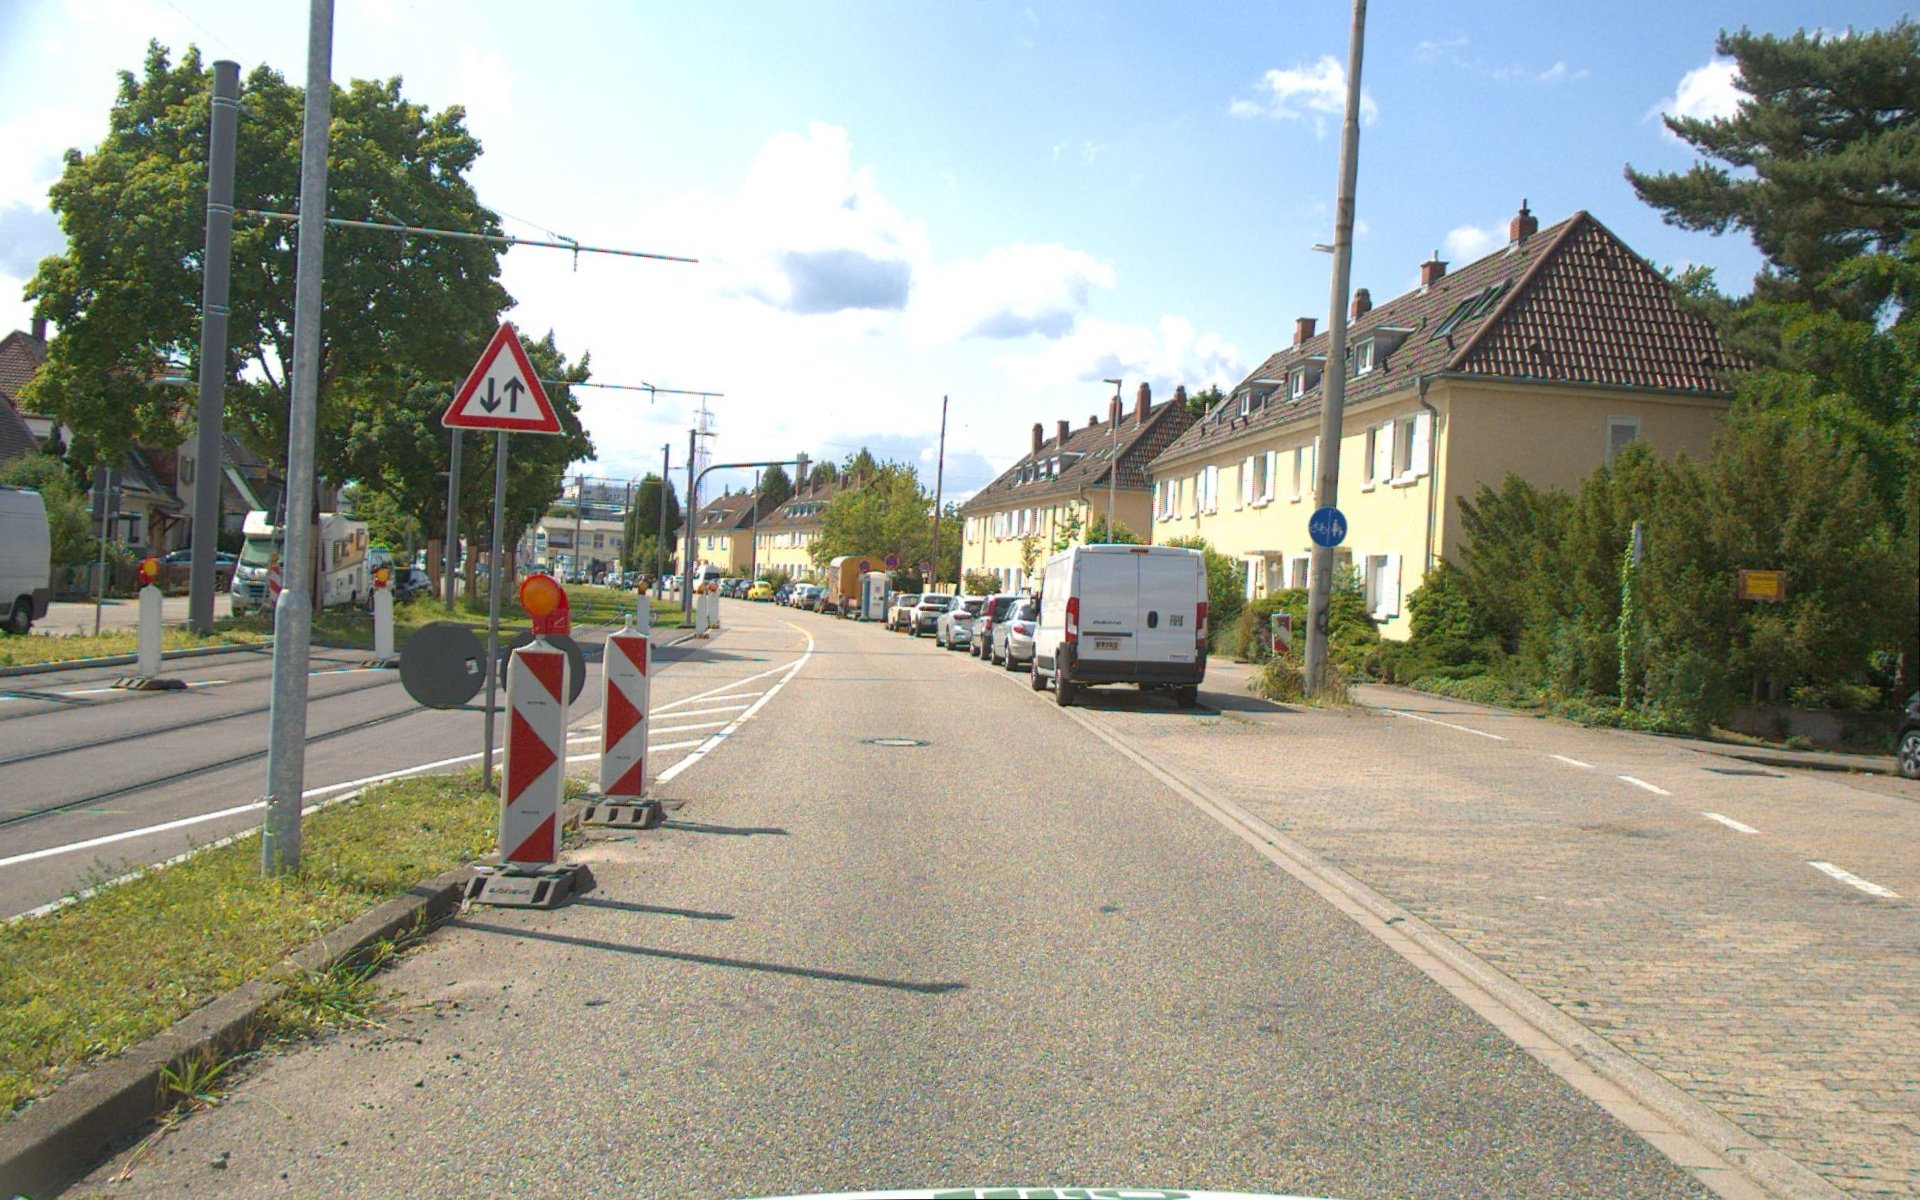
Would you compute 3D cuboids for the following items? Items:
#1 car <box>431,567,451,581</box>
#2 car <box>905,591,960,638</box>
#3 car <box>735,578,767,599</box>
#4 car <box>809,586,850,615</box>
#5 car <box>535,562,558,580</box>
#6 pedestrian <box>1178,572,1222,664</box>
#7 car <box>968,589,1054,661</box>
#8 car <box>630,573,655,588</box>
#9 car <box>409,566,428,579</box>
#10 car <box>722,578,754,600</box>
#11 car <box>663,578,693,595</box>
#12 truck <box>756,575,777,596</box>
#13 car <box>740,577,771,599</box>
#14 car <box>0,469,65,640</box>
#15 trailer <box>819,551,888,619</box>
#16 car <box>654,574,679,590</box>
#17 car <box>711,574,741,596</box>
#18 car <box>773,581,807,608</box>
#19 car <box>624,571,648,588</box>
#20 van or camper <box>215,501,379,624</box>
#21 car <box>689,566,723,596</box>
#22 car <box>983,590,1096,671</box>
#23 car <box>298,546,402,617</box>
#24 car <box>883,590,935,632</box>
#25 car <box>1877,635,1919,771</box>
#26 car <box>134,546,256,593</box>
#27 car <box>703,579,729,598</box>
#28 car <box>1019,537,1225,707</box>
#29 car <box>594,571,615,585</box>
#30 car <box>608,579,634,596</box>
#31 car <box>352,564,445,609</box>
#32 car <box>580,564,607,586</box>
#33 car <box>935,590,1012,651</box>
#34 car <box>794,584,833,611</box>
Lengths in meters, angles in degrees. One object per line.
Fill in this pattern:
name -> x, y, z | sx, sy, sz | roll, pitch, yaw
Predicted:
car -> -57.260, -2.864, 182.303 | 1.704, 1.531, 4.537 | 1, 1, -22
car -> -0.984, 0.475, 57.353 | 1.498, 1.507, 3.804 | 2, 0, -7
car -> -16.168, -0.907, 127.730 | 1.611, 1.508, 4.103 | 3, 0, -19
car -> -7.393, 0.024, 93.290 | 1.550, 1.474, 4.438 | 3, 0, -13
car -> -49.554, -3.524, 198.126 | 1.928, 2.000, 5.258 | 2, 1, -22
pedestrian -> 5.492, 0.405, 37.847 | 0.758, 2.048, 0.761 | 3, 0, -5
car -> 1.178, 0.562, 39.769 | 1.596, 1.577, 3.806 | 2, 0, -5
car -> -32.950, -2.030, 171.448 | 1.740, 1.441, 3.972 | 1, 1, -23
car -> -67.926, -3.468, 207.414 | 1.854, 1.580, 4.345 | 3, 0, -24
car -> -17.875, -0.868, 133.067 | 1.613, 1.630, 3.908 | 3, 0, -21
car -> -27.054, -1.300, 158.451 | 1.775, 1.483, 4.730 | 1, 0, -24
truck -> -17.071, -1.275, 145.808 | 1.326, 1.718, 2.428 | 3, 0, -19
car -> -15.213, -0.886, 122.935 | 1.610, 1.508, 3.914 | 0, 2, -17
car -> -16.306, -0.771, 25.888 | 2.111, 2.715, 4.911 | 3, 0, -5
trailer -> -5.526, -0.792, 85.041 | 2.643, 3.282, 5.066 | 3, 0, -12
car -> -29.004, -1.785, 163.363 | 1.599, 1.441, 3.972 | 1, 1, -23
car -> -19.391, -1.255, 136.943 | 1.611, 1.630, 4.008 | 3, 0, -19
car -> -11.418, -0.413, 110.896 | 1.524, 1.669, 4.228 | 3, 0, -16
car -> -34.495, -2.217, 176.162 | 1.740, 1.671, 3.972 | 1, 1, -23
van or camper -> -18.128, -0.986, 45.680 | 2.331, 3.022, 7.284 | 2, 0, -8
car -> -22.509, -1.696, 146.384 | 1.901, 2.524, 5.486 | 2, 1, -20
car -> 1.601, 0.587, 34.834 | 1.675, 1.530, 4.249 | 2, 0, -6
car -> -19.349, -0.592, 52.651 | 1.956, 2.048, 4.896 | 3, 0, -7
car -> -1.994, 0.394, 63.613 | 1.436, 1.528, 4.100 | 2, 0, -9
car -> 12.146, 1.252, 18.326 | 1.596, 1.574, 3.805 | 3, 0, -5
car -> -29.792, -1.178, 64.554 | 3.918, 1.557, 1.868 | 4, 0, -13
car -> -20.860, -1.015, 141.317 | 1.513, 1.470, 3.717 | 3, 0, -19
car -> 2.320, 0.276, 25.650 | 2.231, 2.221, 6.365 | 2, 0, -2
car -> -41.037, -2.588, 190.871 | 1.740, 1.528, 3.972 | 1, 1, -23
car -> -31.522, -1.173, 153.643 | 1.642, 1.474, 3.933 | 0, 1, -22
car -> -19.815, -0.478, 58.542 | 1.815, 1.411, 4.805 | 3, 0, -3
car -> -43.514, -3.024, 196.504 | 1.934, 2.522, 6.014 | 1, 1, -24
car -> 0.320, 0.524, 45.594 | 1.715, 1.524, 4.381 | 2, 0, -5
car -> -8.965, -0.167, 100.997 | 1.677, 1.474, 4.818 | 3, 0, -13
